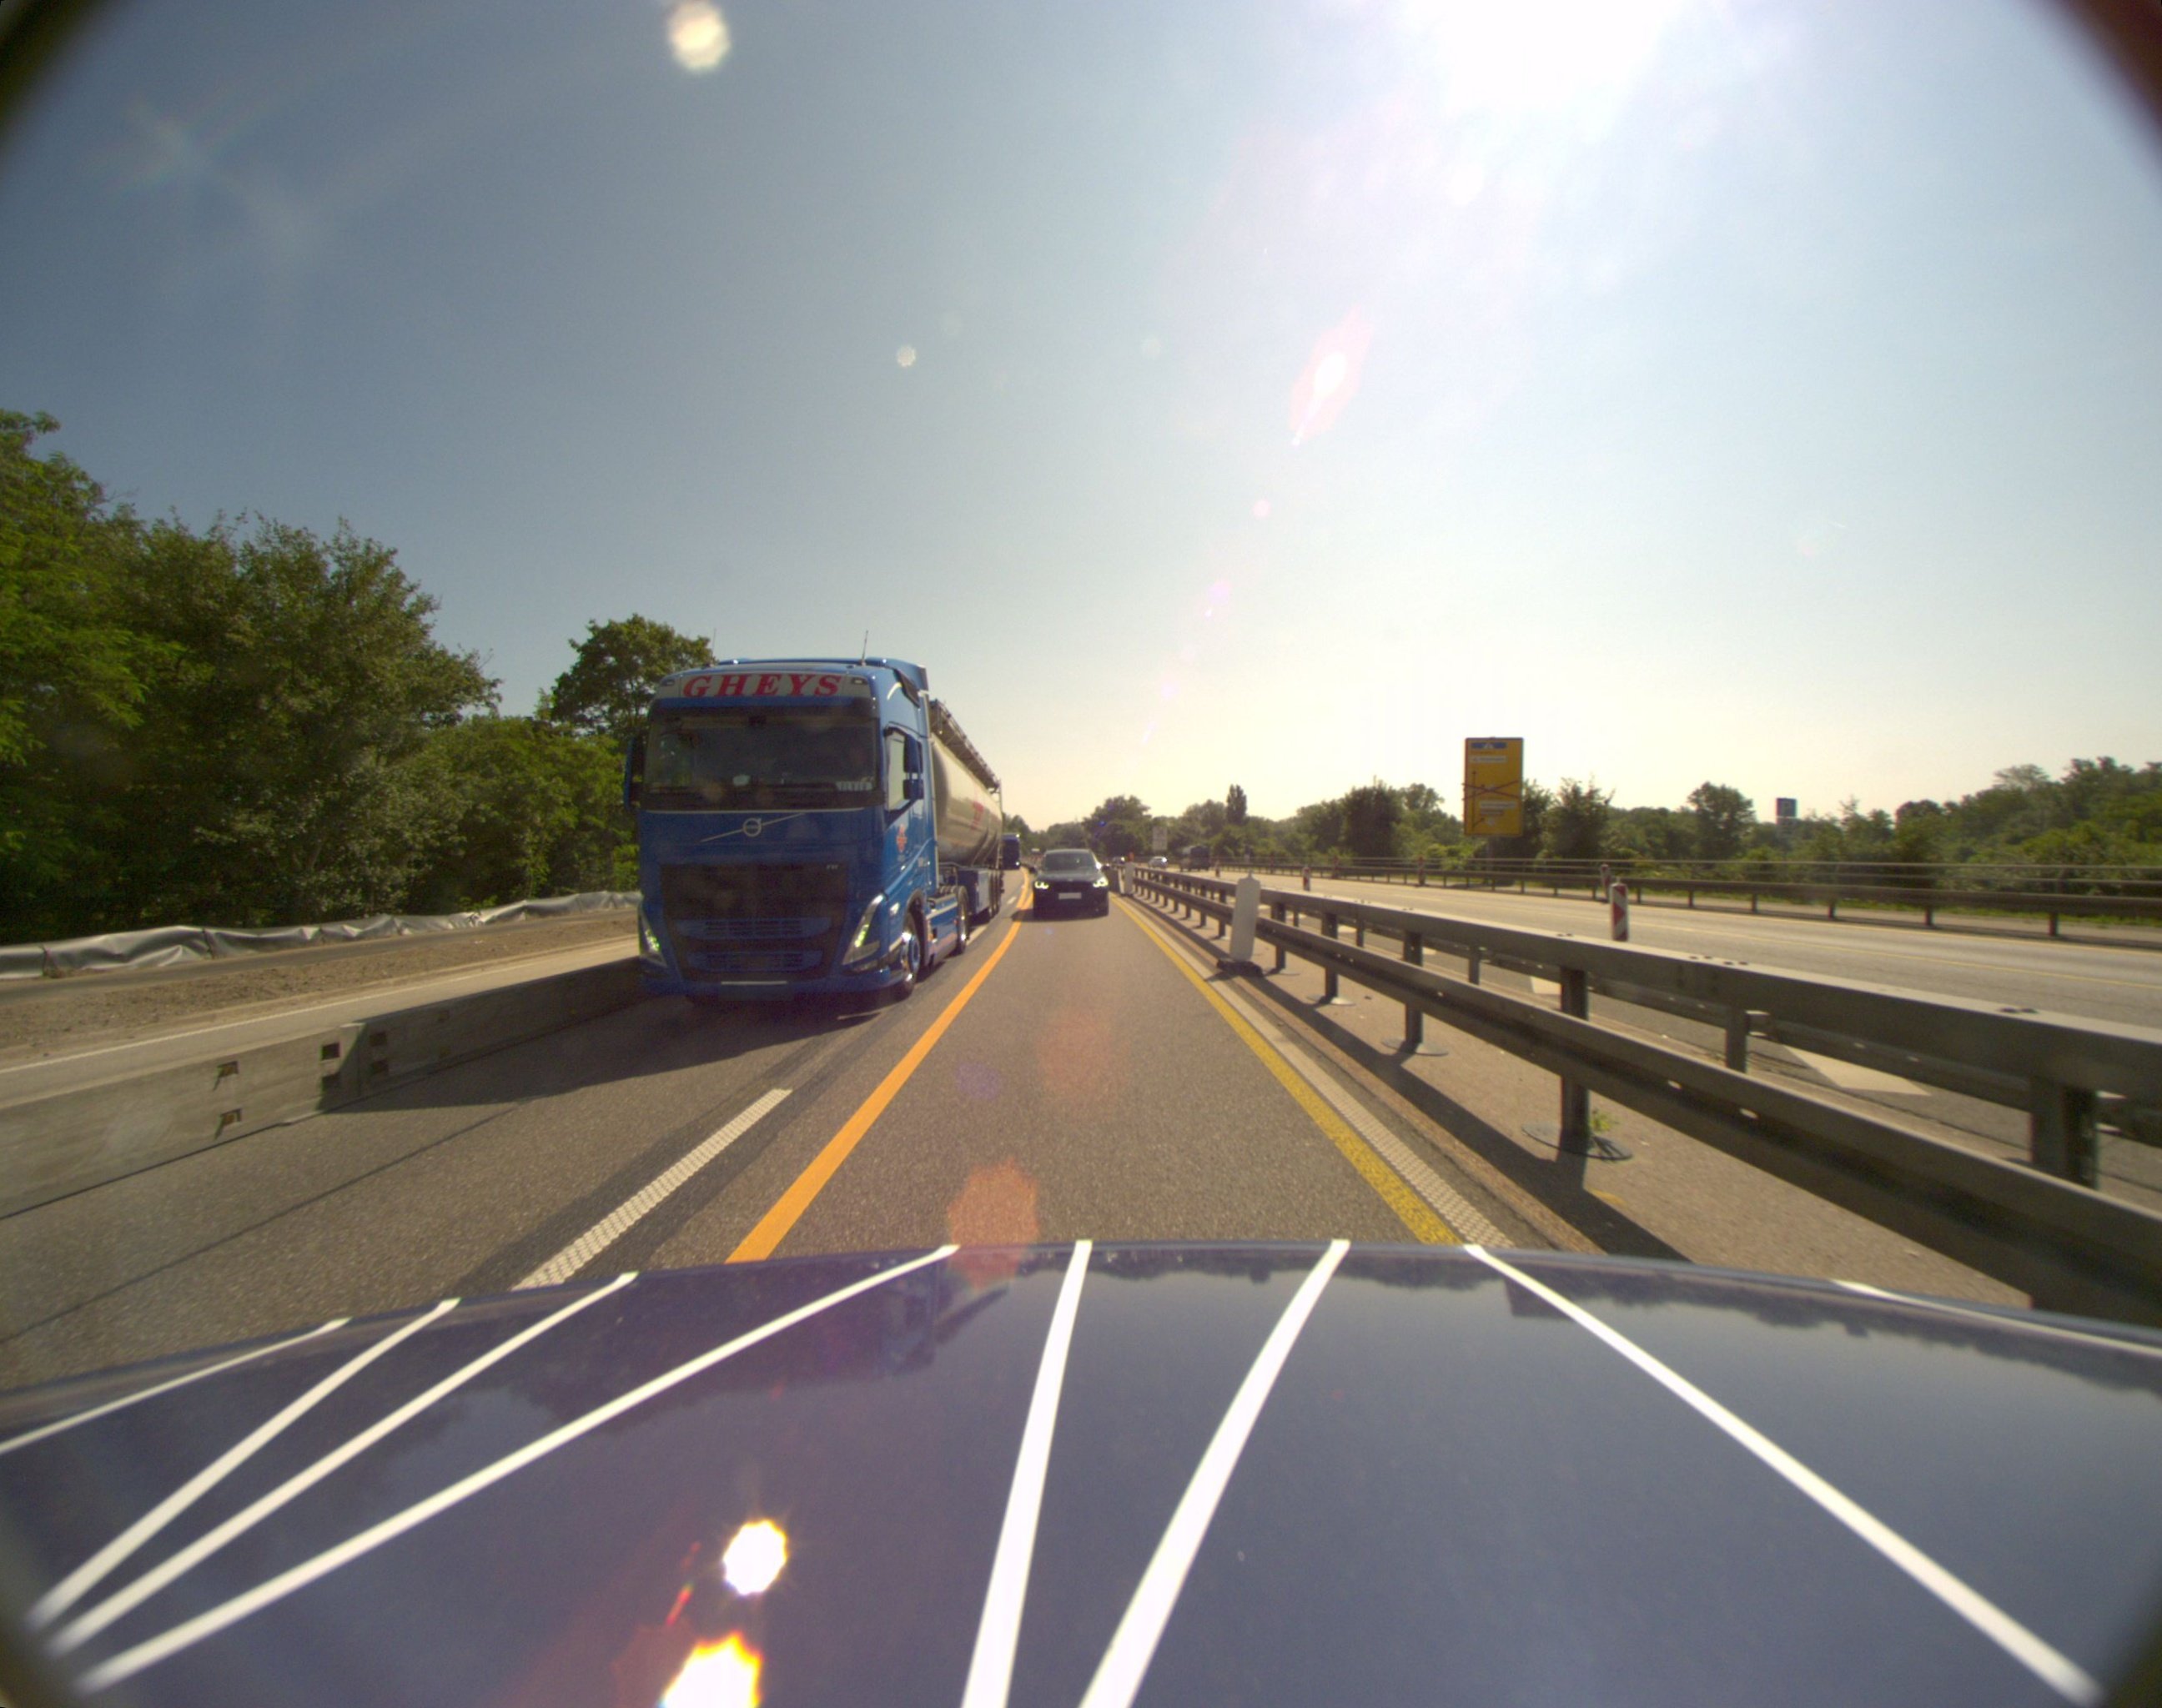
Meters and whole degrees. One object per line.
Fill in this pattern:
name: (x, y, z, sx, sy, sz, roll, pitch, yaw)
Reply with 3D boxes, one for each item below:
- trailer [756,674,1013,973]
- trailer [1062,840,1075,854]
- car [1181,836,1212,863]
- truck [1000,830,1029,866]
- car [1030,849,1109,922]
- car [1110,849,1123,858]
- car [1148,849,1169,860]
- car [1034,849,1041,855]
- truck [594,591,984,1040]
trailer: (-3.300, -0.441, 16.883, 2.701, 4.113, 12.611, 1, 0, -1)
trailer: (-4.068, -2.168, 242.252, 2.769, 4.112, 14.521, 1, 0, -6)
car: (11.647, -0.459, 77.089, 2.152, 2.645, 5.544, 0, 1, -2)
truck: (-7.550, -0.679, 87.542, 2.861, 3.962, 8.663, 1, 0, -2)
car: (-0.195, 0.720, 20.141, 1.789, 1.651, 4.487, -2, 1, 2)
car: (5.863, -0.135, 126.097, 1.742, 1.467, 4.643, 0, 0, -4)
car: (9.685, 0.033, 94.742, 1.724, 1.389, 4.517, -1, 0, -5)
car: (-14.422, -0.702, 251.226, 1.999, 2.002, 3.999, 1, 0, 0)
truck: (-3.150, -0.354, 10.635, 2.701, 4.078, 7.299, 1, 0, -1)
